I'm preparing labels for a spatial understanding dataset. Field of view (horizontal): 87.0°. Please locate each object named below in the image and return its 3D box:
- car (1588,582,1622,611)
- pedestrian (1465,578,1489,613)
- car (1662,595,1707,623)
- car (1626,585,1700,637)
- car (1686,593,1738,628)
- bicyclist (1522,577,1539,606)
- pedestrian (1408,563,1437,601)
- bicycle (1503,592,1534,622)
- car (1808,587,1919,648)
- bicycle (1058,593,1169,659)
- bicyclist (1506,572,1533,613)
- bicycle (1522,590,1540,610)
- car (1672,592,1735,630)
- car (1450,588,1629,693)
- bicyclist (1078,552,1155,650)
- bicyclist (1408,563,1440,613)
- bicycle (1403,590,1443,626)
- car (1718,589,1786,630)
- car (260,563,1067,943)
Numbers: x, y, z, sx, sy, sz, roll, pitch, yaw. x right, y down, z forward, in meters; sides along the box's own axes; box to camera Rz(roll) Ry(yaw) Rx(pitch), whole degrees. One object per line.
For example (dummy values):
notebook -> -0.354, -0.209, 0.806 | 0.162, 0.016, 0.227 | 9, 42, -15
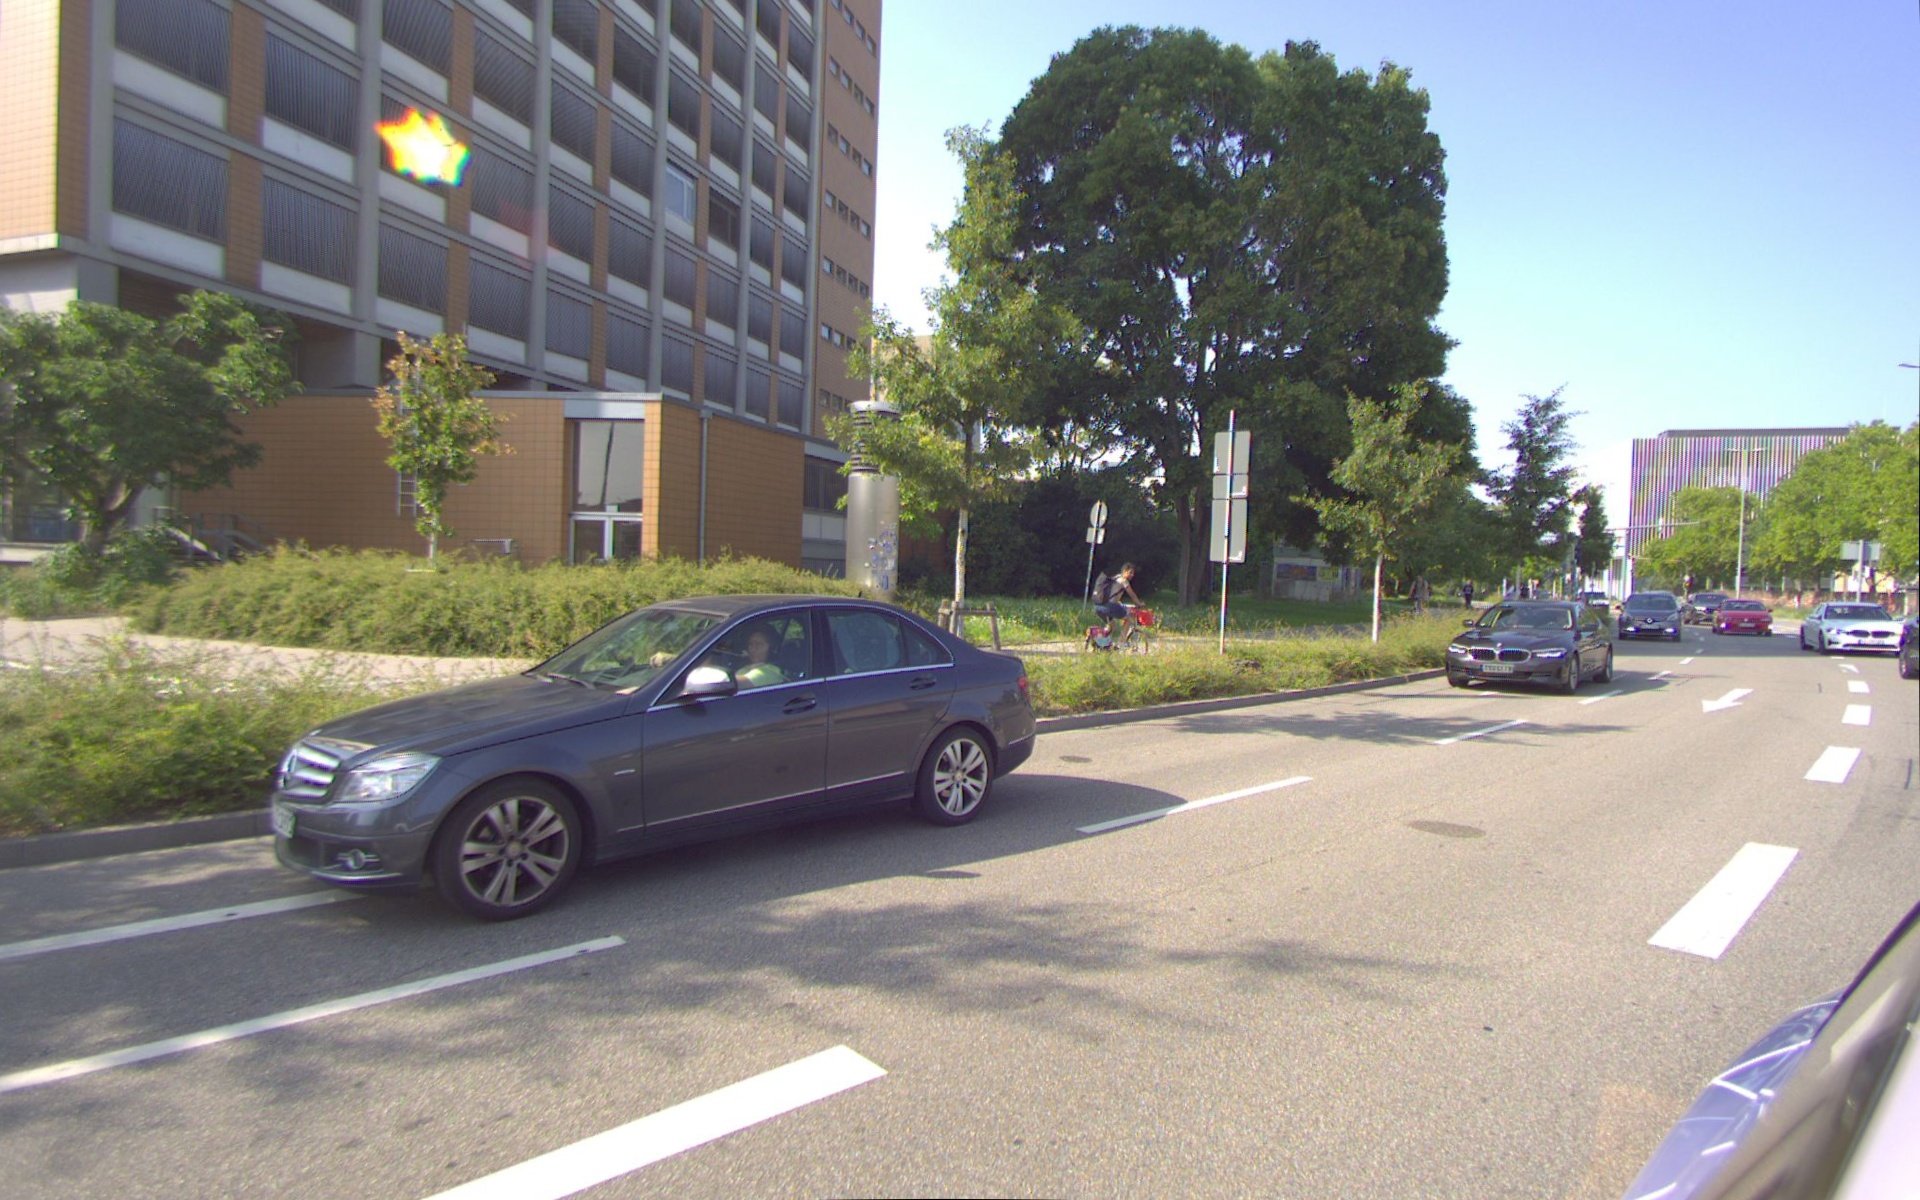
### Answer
car -> 46.832, -0.264, 73.551 | 1.672, 1.966, 4.330 | 2, 2, 27
pedestrian -> 28.237, -0.249, 55.277 | 0.955, 1.804, 0.990 | 5, 3, 34
car -> 46.496, 0.591, 65.051 | 1.768, 1.742, 4.486 | -1, -1, 29
car -> 24.460, 0.313, 35.357 | 1.770, 1.625, 4.373 | 2, 2, 31
car -> 39.767, 0.521, 53.604 | 1.770, 1.713, 4.483 | 2, 2, 31
bicyclist -> 34.483, -0.513, 61.178 | 0.766, 1.697, 0.916 | 2, 1, 26
pedestrian -> 18.204, -0.696, 39.835 | 0.843, 1.461, 0.725 | 0, 2, -45
bicycle -> 22.209, 0.259, 40.223 | 0.769, 1.131, 2.273 | 3, 2, 36
car -> 25.174, 0.421, 28.286 | 1.772, 1.501, 4.478 | 2, 2, 34
bicycle -> 2.501, 0.393, 16.313 | 1.888, 0.971, 0.720 | 0, 2, -42
bicyclist -> 22.212, -0.306, 40.193 | 0.769, 1.612, 0.912 | 3, 1, 37
bicycle -> 34.440, -0.018, 61.103 | 0.766, 1.131, 2.283 | 2, 1, 26
car -> 34.545, 0.483, 47.111 | 1.926, 1.627, 4.482 | 1, 0, 31
car -> 10.067, 0.597, 17.420 | 1.682, 1.510, 4.601 | 3, 2, 42
bicyclist -> 2.525, 0.002, 16.319 | 0.987, 1.531, 0.720 | 0, 2, -42
bicyclist -> 15.532, -0.407, 33.867 | 0.769, 1.613, 0.912 | 2, 1, 36
bicycle -> 15.513, 0.243, 33.858 | 0.769, 1.131, 2.274 | 2, 1, 36
car -> 31.924, 0.346, 40.912 | 1.676, 1.510, 4.322 | 3, 2, 32
car -> -1.413, 0.582, 6.003 | 4.299, 1.460, 1.684 | 1, 1, -44
